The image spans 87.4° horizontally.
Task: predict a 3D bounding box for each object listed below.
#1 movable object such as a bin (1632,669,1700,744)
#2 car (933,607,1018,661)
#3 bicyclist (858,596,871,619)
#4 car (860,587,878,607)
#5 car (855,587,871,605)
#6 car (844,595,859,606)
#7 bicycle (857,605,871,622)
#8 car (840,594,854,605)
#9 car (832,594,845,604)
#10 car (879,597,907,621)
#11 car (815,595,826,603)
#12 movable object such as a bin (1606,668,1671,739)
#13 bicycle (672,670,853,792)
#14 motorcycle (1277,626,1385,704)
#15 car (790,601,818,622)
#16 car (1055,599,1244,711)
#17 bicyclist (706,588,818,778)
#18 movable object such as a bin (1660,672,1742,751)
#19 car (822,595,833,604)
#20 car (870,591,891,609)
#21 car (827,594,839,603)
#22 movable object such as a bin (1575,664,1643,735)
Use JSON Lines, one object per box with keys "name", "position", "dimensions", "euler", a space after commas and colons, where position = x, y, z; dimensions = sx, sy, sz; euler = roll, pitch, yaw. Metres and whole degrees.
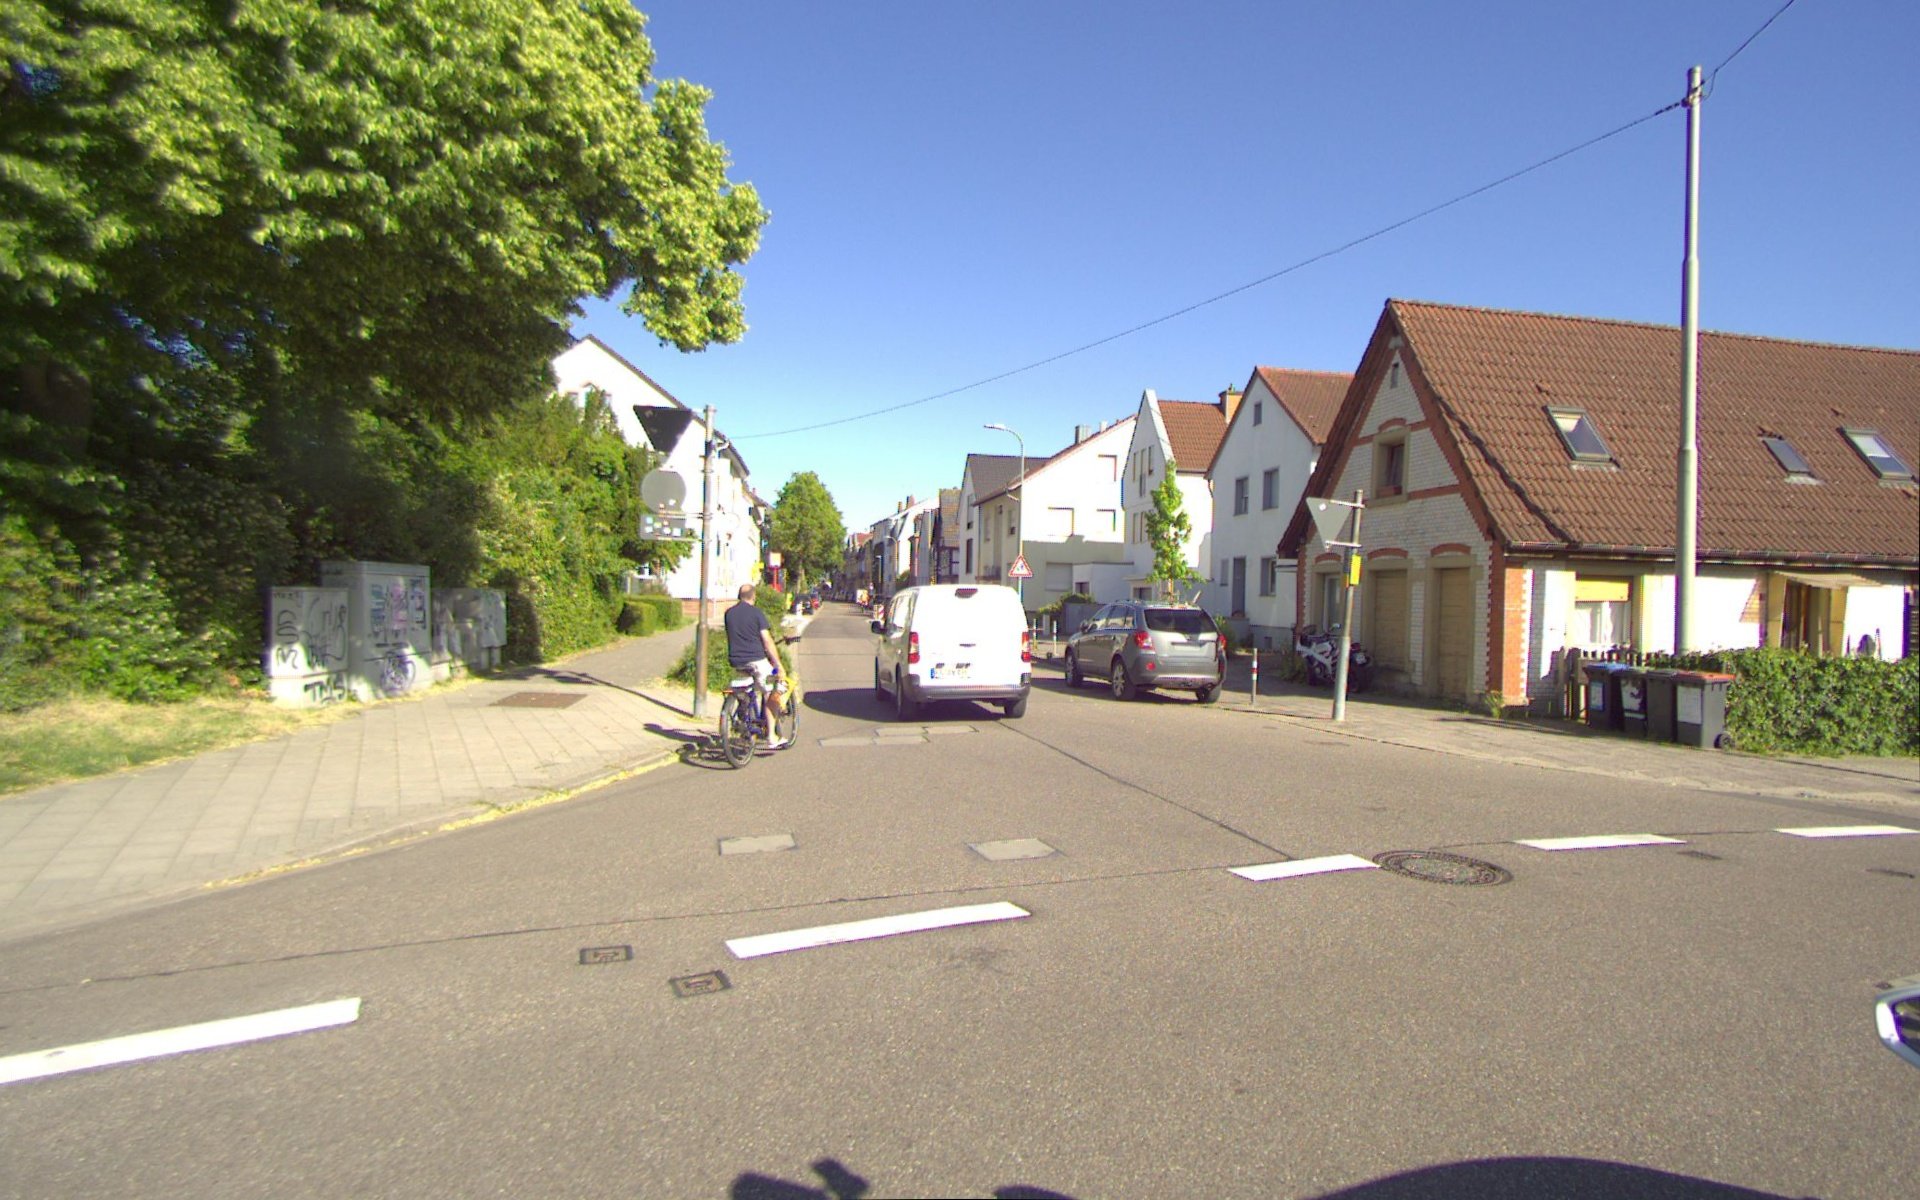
{"name": "movable object such as a bin", "position": [9.327, 1.401, 13.269], "dimensions": [0.614, 0.937, 0.411], "euler": [1, 1, -12]}
{"name": "car", "position": [0.453, 1.093, 33.606], "dimensions": [1.912, 1.570, 4.224], "euler": [1, 1, -12]}
{"name": "bicyclist", "position": [-7.844, 0.587, 82.385], "dimensions": [1.049, 1.864, 1.210], "euler": [2, 0, -6]}
{"name": "car", "position": [-13.823, -0.503, 152.420], "dimensions": [1.791, 2.939, 4.649], "euler": [1, 1, -15]}
{"name": "car", "position": [-13.886, -0.541, 143.959], "dimensions": [1.964, 2.508, 4.720], "euler": [1, 0, -10]}
{"name": "car", "position": [-17.287, 0.013, 160.028], "dimensions": [1.791, 1.678, 4.120], "euler": [1, 0, -15]}
{"name": "bicycle", "position": [-7.849, 1.121, 82.237], "dimensions": [1.049, 1.328, 3.008], "euler": [2, 0, -6]}
{"name": "car", "position": [-18.937, -0.073, 168.000], "dimensions": [1.791, 1.678, 4.120], "euler": [1, 0, -15]}
{"name": "car", "position": [-22.146, -0.231, 182.592], "dimensions": [1.791, 1.678, 4.120], "euler": [1, 0, -15]}
{"name": "car", "position": [-5.105, 0.648, 75.899], "dimensions": [1.962, 1.731, 4.176], "euler": [1, 0, -6]}
{"name": "car", "position": [-28.713, -0.212, 207.031], "dimensions": [1.791, 1.678, 4.120], "euler": [1, 0, -15]}
{"name": "movable object such as a bin", "position": [9.249, 1.401, 13.692], "dimensions": [0.614, 0.918, 0.412], "euler": [0, 1, -12]}
{"name": "bicycle", "position": [-1.913, 1.251, 10.186], "dimensions": [0.762, 0.952, 2.291], "euler": [1, -1, 18]}
{"name": "motorcycle", "position": [6.951, 1.180, 18.975], "dimensions": [0.867, 1.313, 2.245], "euler": [-2, 0, -11]}
{"name": "car", "position": [-11.828, 0.857, 76.381], "dimensions": [1.963, 1.483, 3.994], "euler": [1, 0, -8]}
{"name": "car", "position": [3.305, 0.909, 18.467], "dimensions": [1.912, 1.748, 4.224], "euler": [1, 1, -12]}
{"name": "bicyclist", "position": [-1.971, 0.811, 10.079], "dimensions": [0.752, 1.812, 0.853], "euler": [-2, -2, 18]}
{"name": "movable object such as a bin", "position": [9.418, 1.408, 12.771], "dimensions": [0.614, 0.937, 0.556], "euler": [1, 1, -12]}
{"name": "car", "position": [-26.285, -0.114, 199.234], "dimensions": [1.791, 1.678, 4.120], "euler": [1, 0, -15]}
{"name": "car", "position": [-7.813, -0.041, 98.202], "dimensions": [1.962, 1.731, 4.176], "euler": [1, 0, -6]}
{"name": "car", "position": [-24.274, -0.332, 191.670], "dimensions": [1.791, 1.678, 4.120], "euler": [1, 0, -15]}
{"name": "movable object such as a bin", "position": [9.149, 1.390, 14.163], "dimensions": [0.614, 0.937, 0.508], "euler": [1, 1, -12]}
